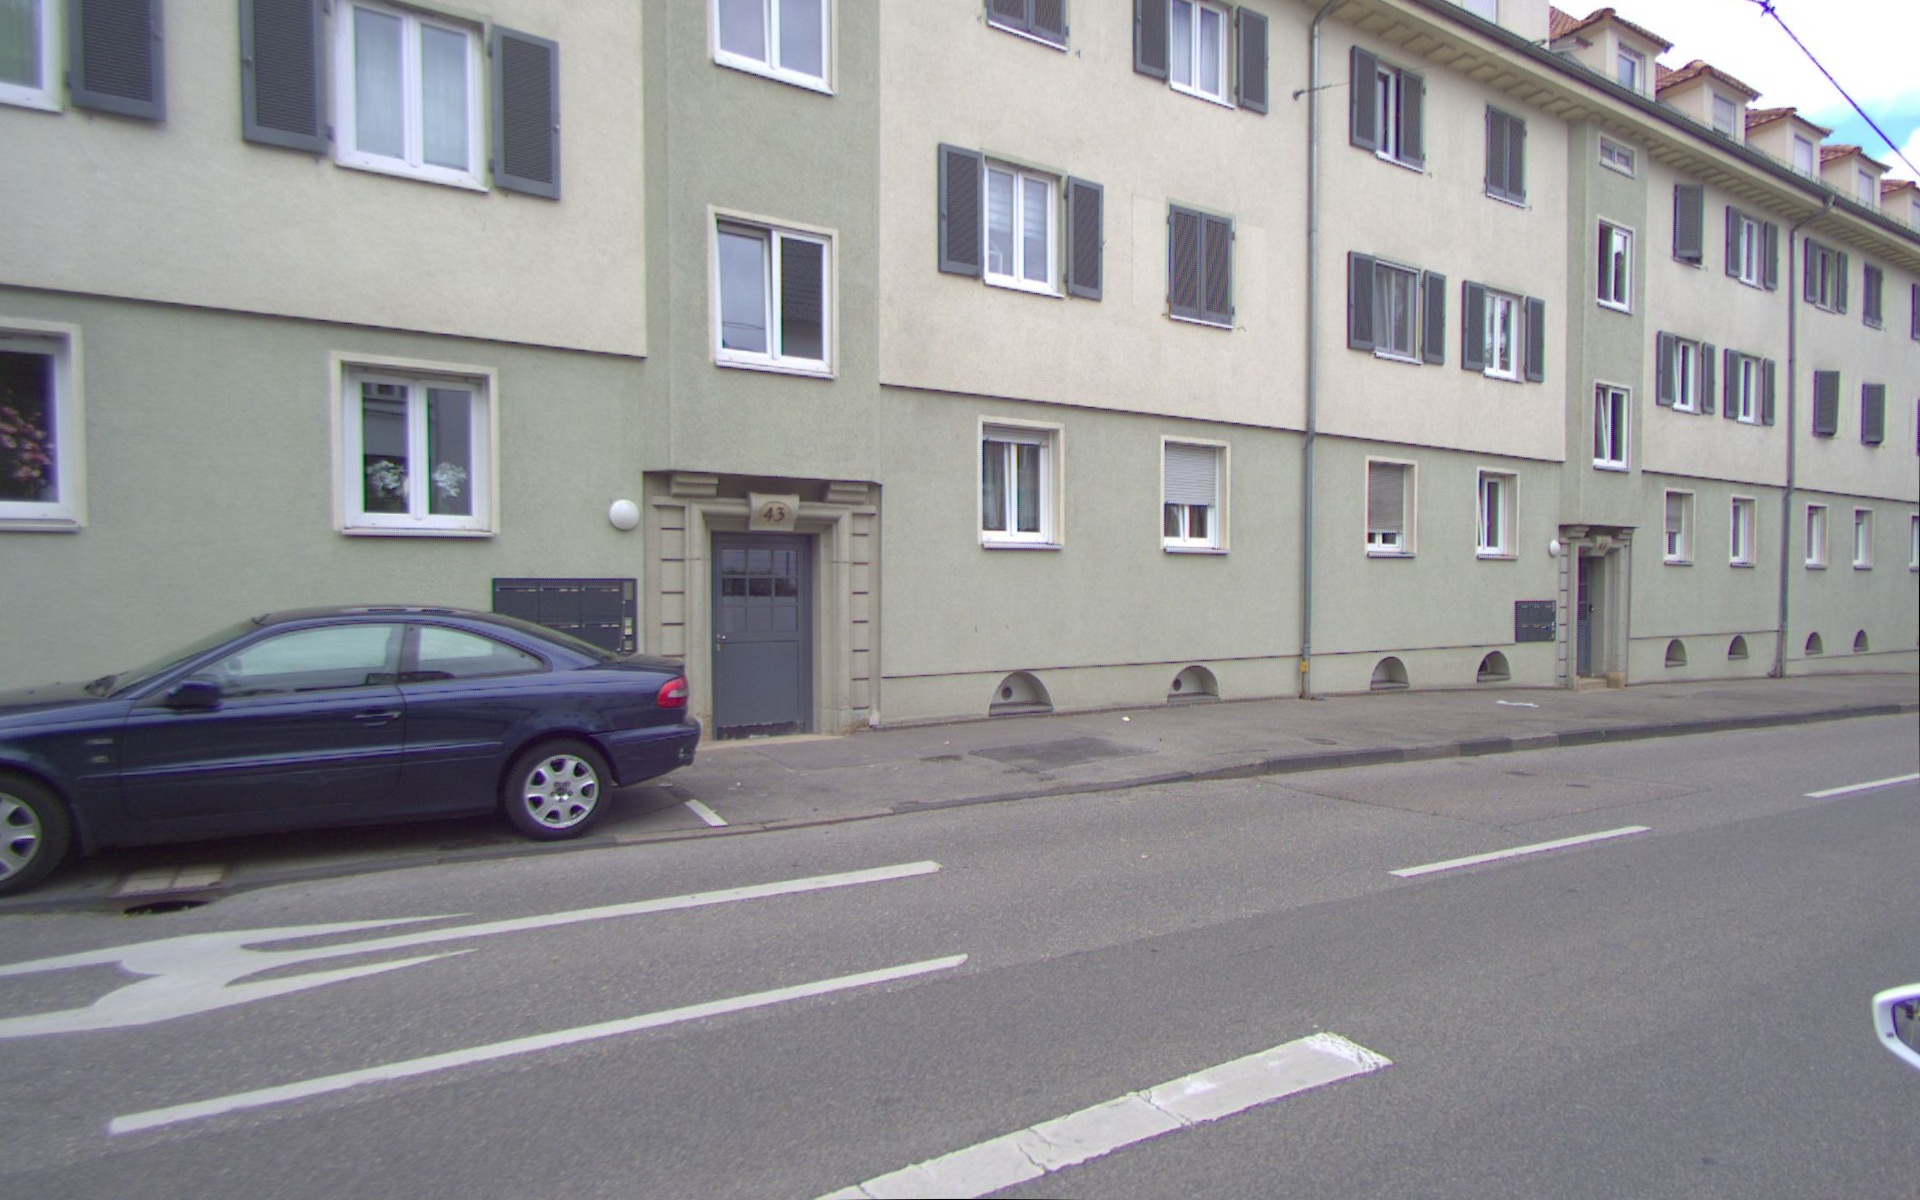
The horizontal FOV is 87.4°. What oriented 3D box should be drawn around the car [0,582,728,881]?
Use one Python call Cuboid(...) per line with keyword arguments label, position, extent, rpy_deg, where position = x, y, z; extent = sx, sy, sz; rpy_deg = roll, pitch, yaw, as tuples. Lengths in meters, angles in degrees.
Cuboid(label="car", position=(-4.024, 0.641, 6.158), extent=(4.791, 1.422, 1.701), rpy_deg=(1, 0, -32))
